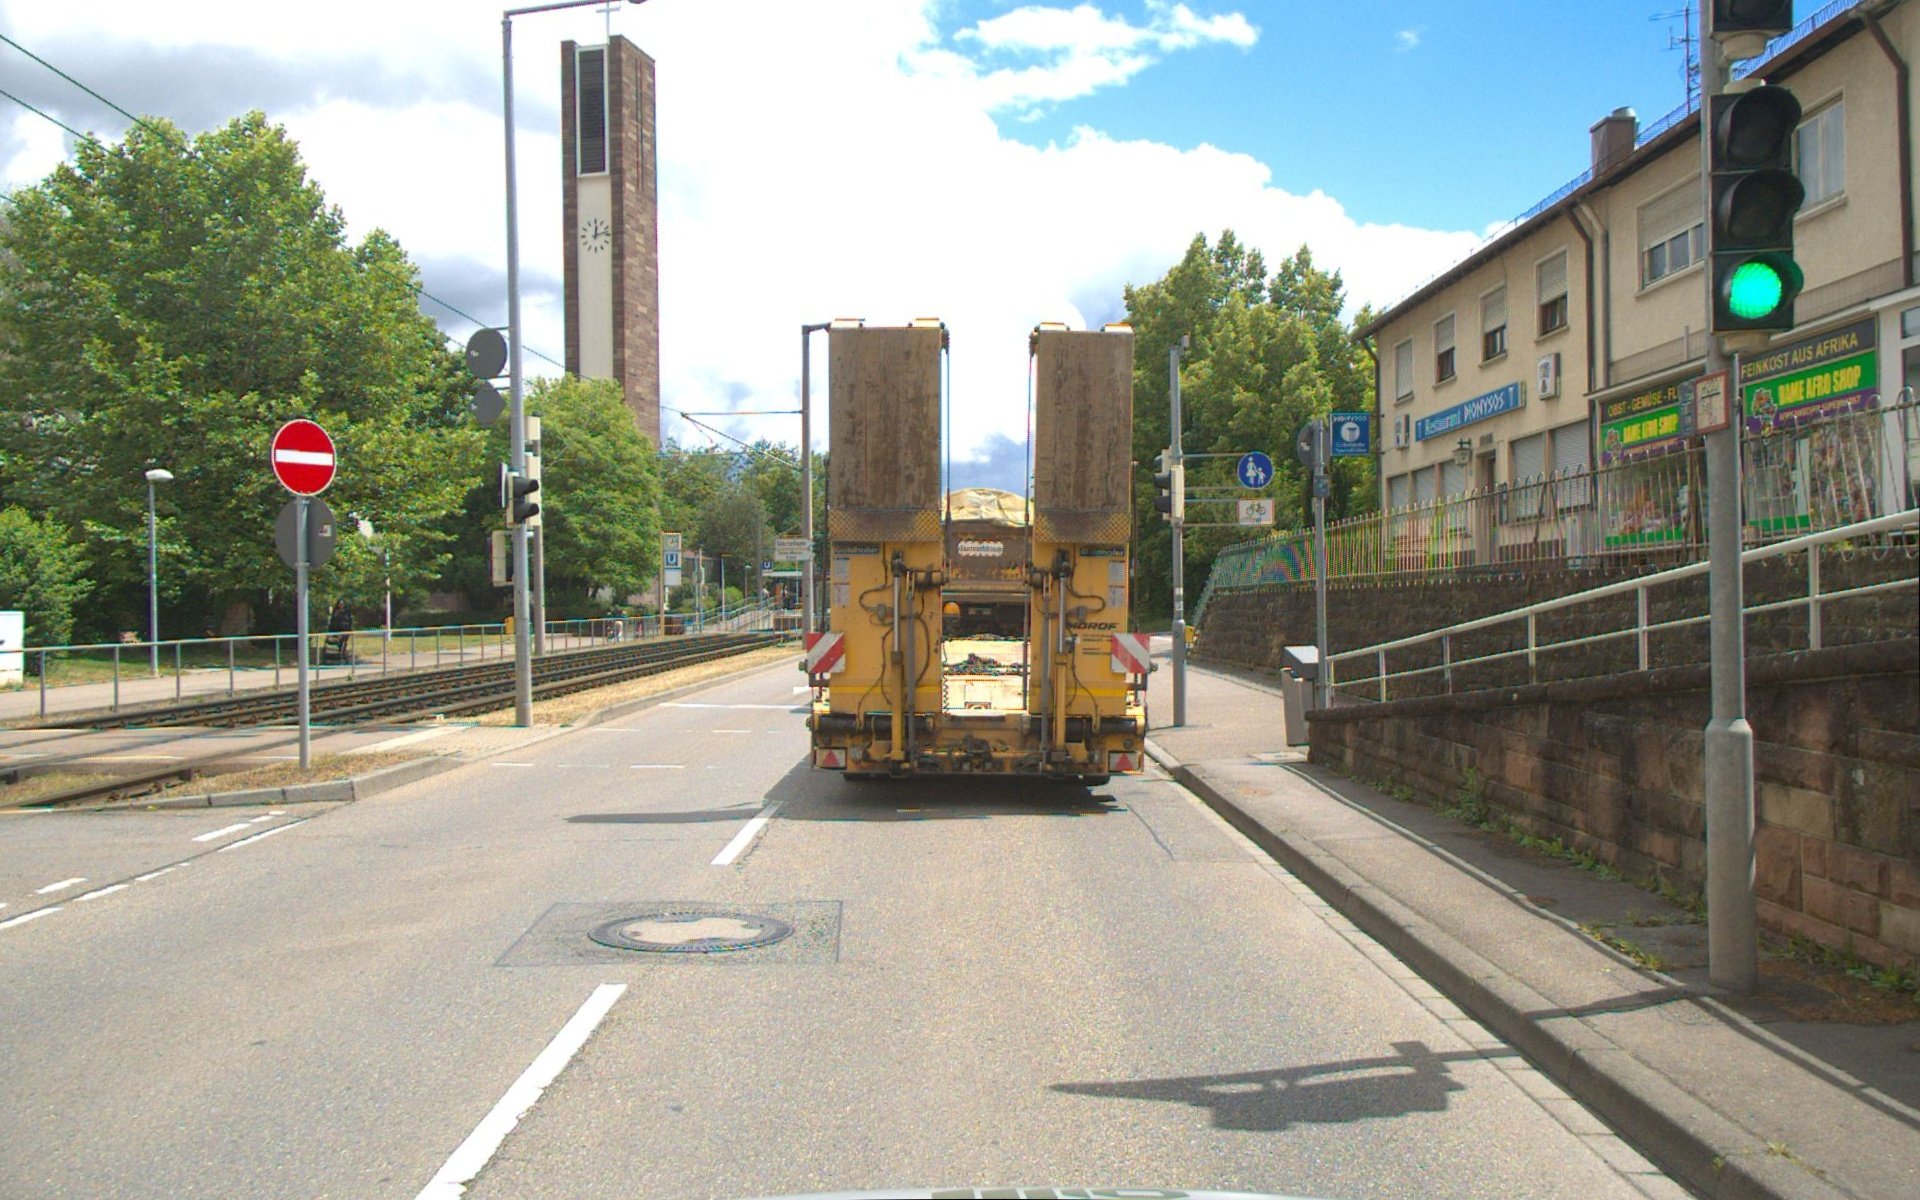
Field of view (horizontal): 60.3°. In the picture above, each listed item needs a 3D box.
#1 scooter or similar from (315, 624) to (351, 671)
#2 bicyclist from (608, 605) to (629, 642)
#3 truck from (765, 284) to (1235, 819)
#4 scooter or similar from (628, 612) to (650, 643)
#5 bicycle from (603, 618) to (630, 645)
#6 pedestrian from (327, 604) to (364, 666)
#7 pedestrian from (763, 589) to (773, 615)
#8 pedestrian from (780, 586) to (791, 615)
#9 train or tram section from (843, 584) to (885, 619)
[{"bbox_3d":[-15.557,1.177,41.035,0.592,1.134,0.821,0,-1,-1],"label":"scooter or similar"},{"bbox_3d":[-13.428,0.920,65.099,0.620,1.454,0.790,1,-1,1],"label":"bicyclist"},{"bbox_3d":[0.143,-0.315,18.665,3.333,3.798,13.734,0,0,-1],"label":"truck"},{"bbox_3d":[-13.699,1.165,70.641,0.636,1.258,1.401,1,0,2],"label":"scooter or similar"},{"bbox_3d":[-13.448,1.215,64.827,0.624,1.011,1.928,1,0,1],"label":"bicycle"},{"bbox_3d":[-15.565,0.880,41.902,0.600,1.567,0.874,0,-1,-1],"label":"pedestrian"},{"bbox_3d":[-13.097,0.131,113.069,0.572,1.809,0.576,1,-1,1],"label":"pedestrian"},{"bbox_3d":[-12.424,0.066,117.775,0.697,2.049,0.732,1,-1,-1],"label":"pedestrian"},{"bbox_3d":[-10.255,0.201,179.037,3.044,3.525,18.827,1,0,1],"label":"train or tram section"}]
